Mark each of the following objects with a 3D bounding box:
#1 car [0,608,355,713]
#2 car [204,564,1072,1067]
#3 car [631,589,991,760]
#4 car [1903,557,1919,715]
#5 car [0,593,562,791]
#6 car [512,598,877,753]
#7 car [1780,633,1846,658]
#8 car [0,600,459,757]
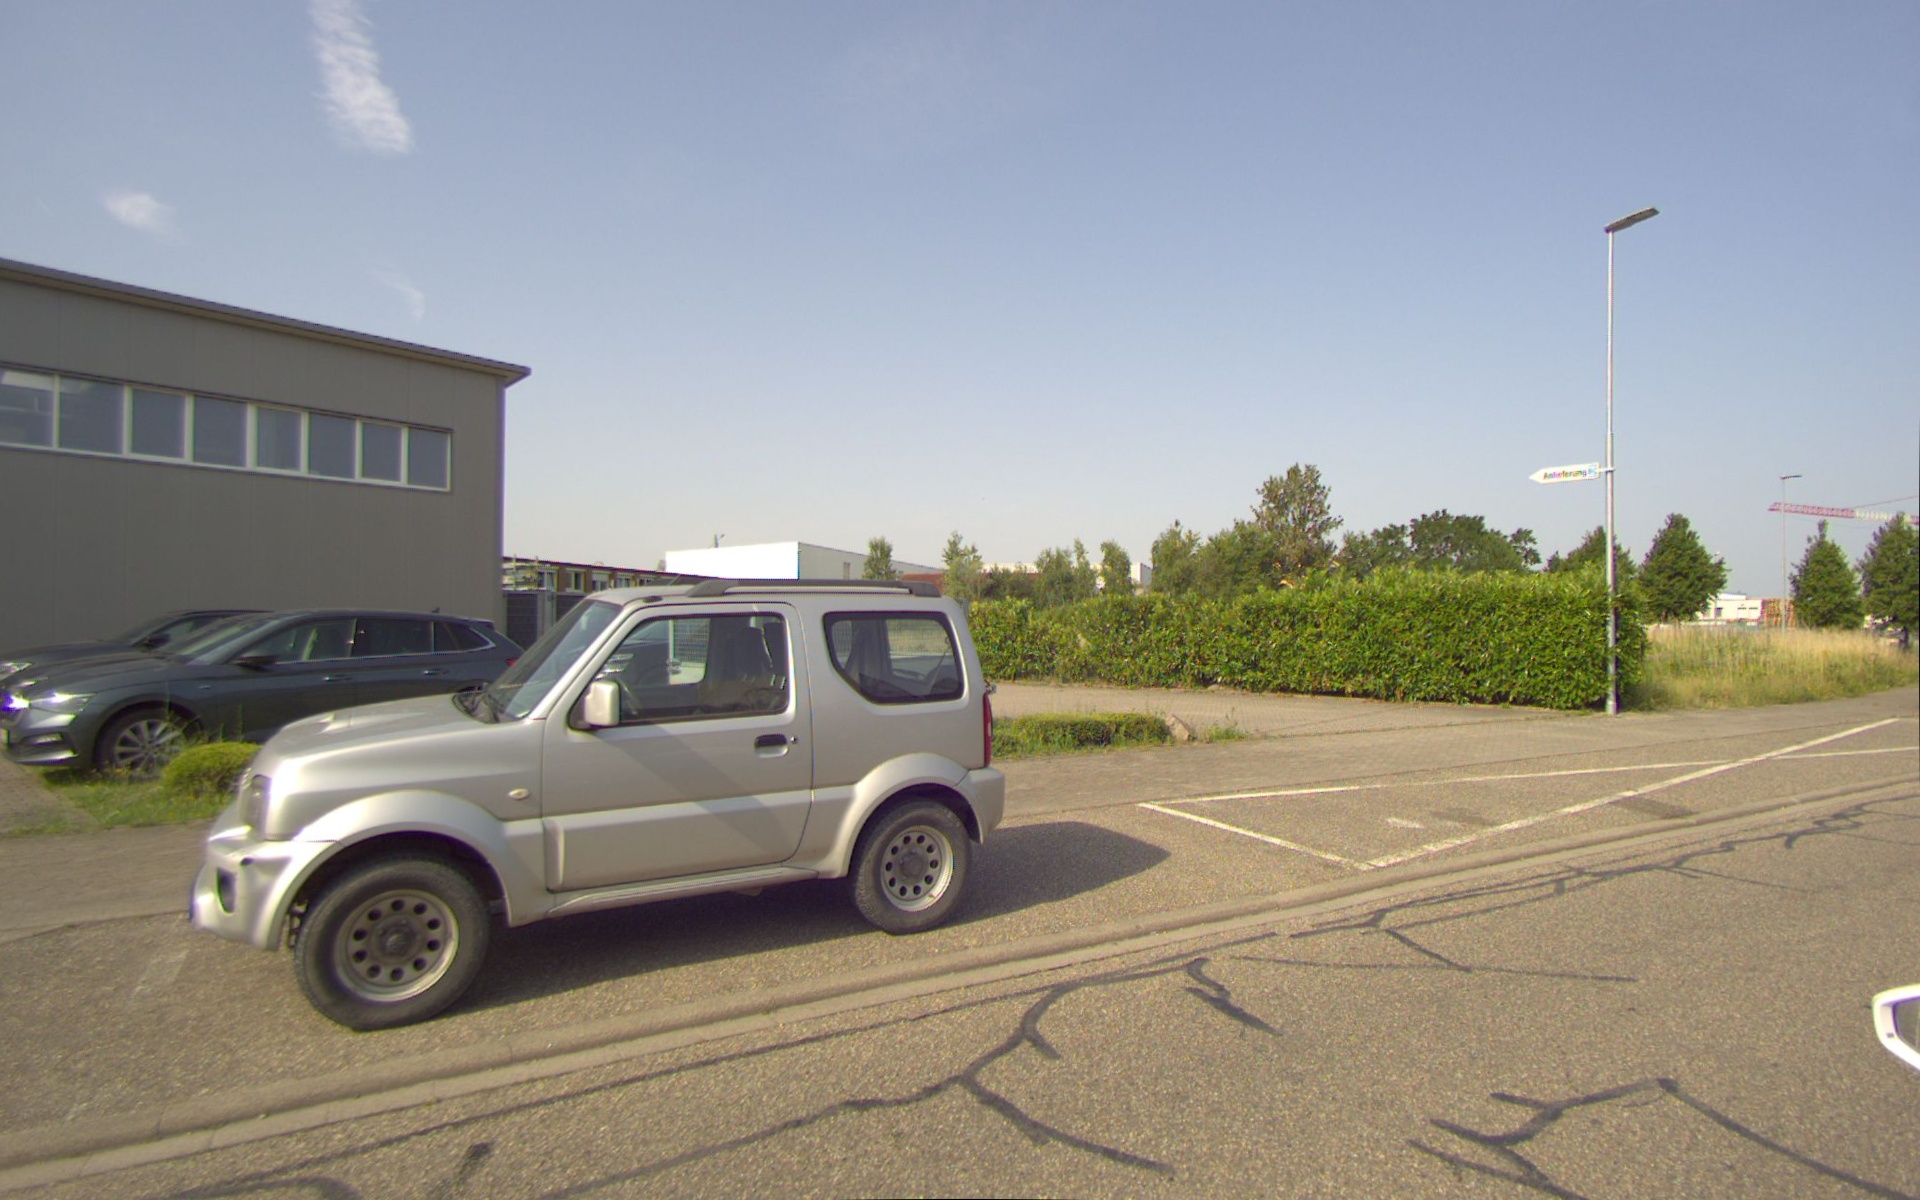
[{"bbox_3d":[-11.843,0.827,15.090,1.965,1.342,4.331,0,-1,39],"label":"car"},{"bbox_3d":[-1.367,0.738,4.964,3.602,1.673,1.589,1,0,-31],"label":"car"},{"bbox_3d":[-1.571,0.737,11.533,1.813,1.593,3.796,2,0,42],"label":"car"},{"bbox_3d":[19.132,0.686,17.817,6.436,2.630,2.089,1,1,-34],"label":"car"},{"bbox_3d":[-6.502,0.743,9.924,1.952,1.496,4.401,0,-1,40],"label":"car"},{"bbox_3d":[-3.397,0.879,13.546,1.967,1.680,4.399,2,1,41],"label":"car"},{"bbox_3d":[55.146,2.938,65.023,1.686,1.535,4.006,-1,-2,15],"label":"car"},{"bbox_3d":[-8.454,0.795,11.765,1.659,1.496,4.331,0,-1,39],"label":"car"}]
